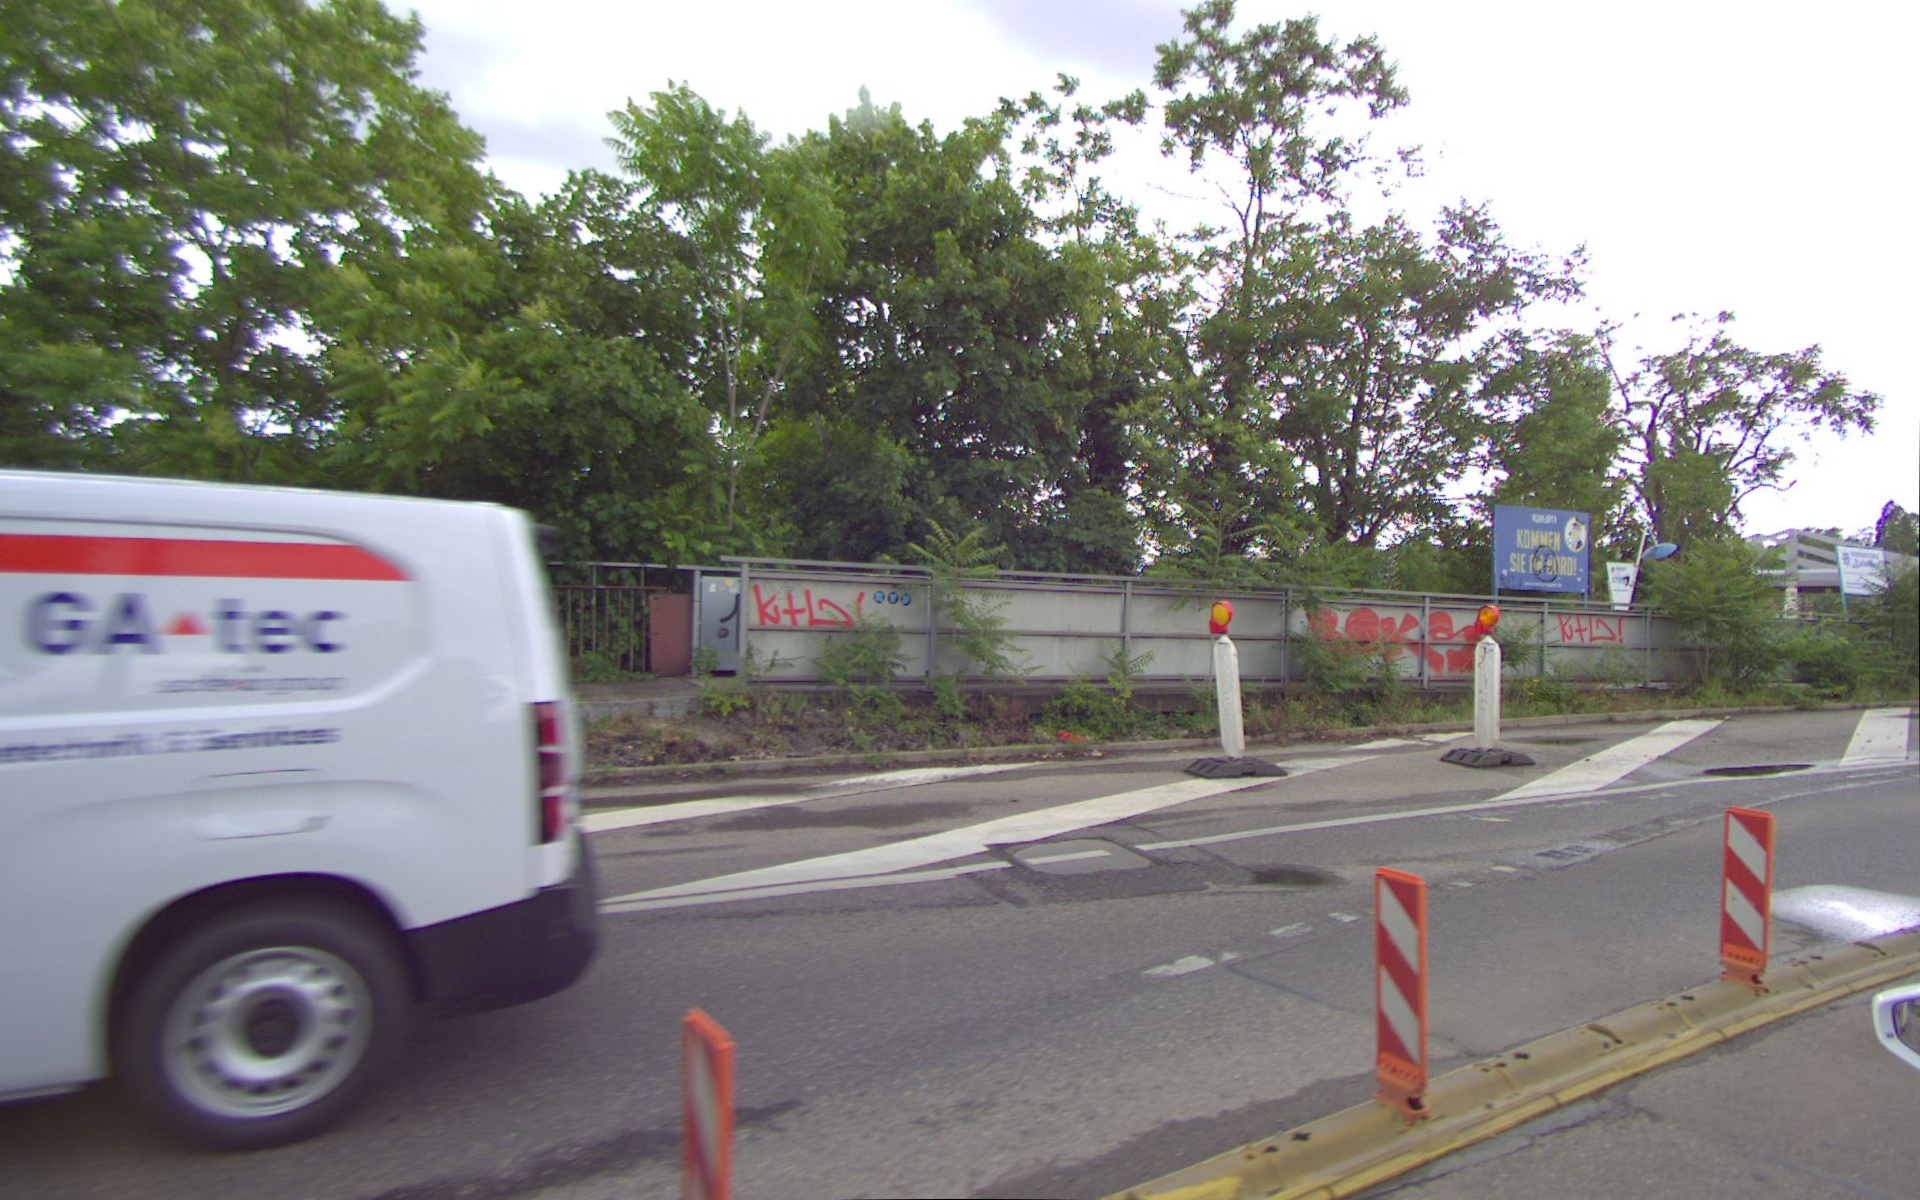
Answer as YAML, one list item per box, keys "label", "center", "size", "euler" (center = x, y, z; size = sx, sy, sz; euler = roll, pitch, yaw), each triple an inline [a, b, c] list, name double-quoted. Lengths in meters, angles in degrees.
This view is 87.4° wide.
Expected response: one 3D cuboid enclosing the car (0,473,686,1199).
- label: "car"
  center: [-3.340, 0.605, 2.942]
  size: [4.682, 1.806, 1.858]
  euler: [0, 0, -25]
